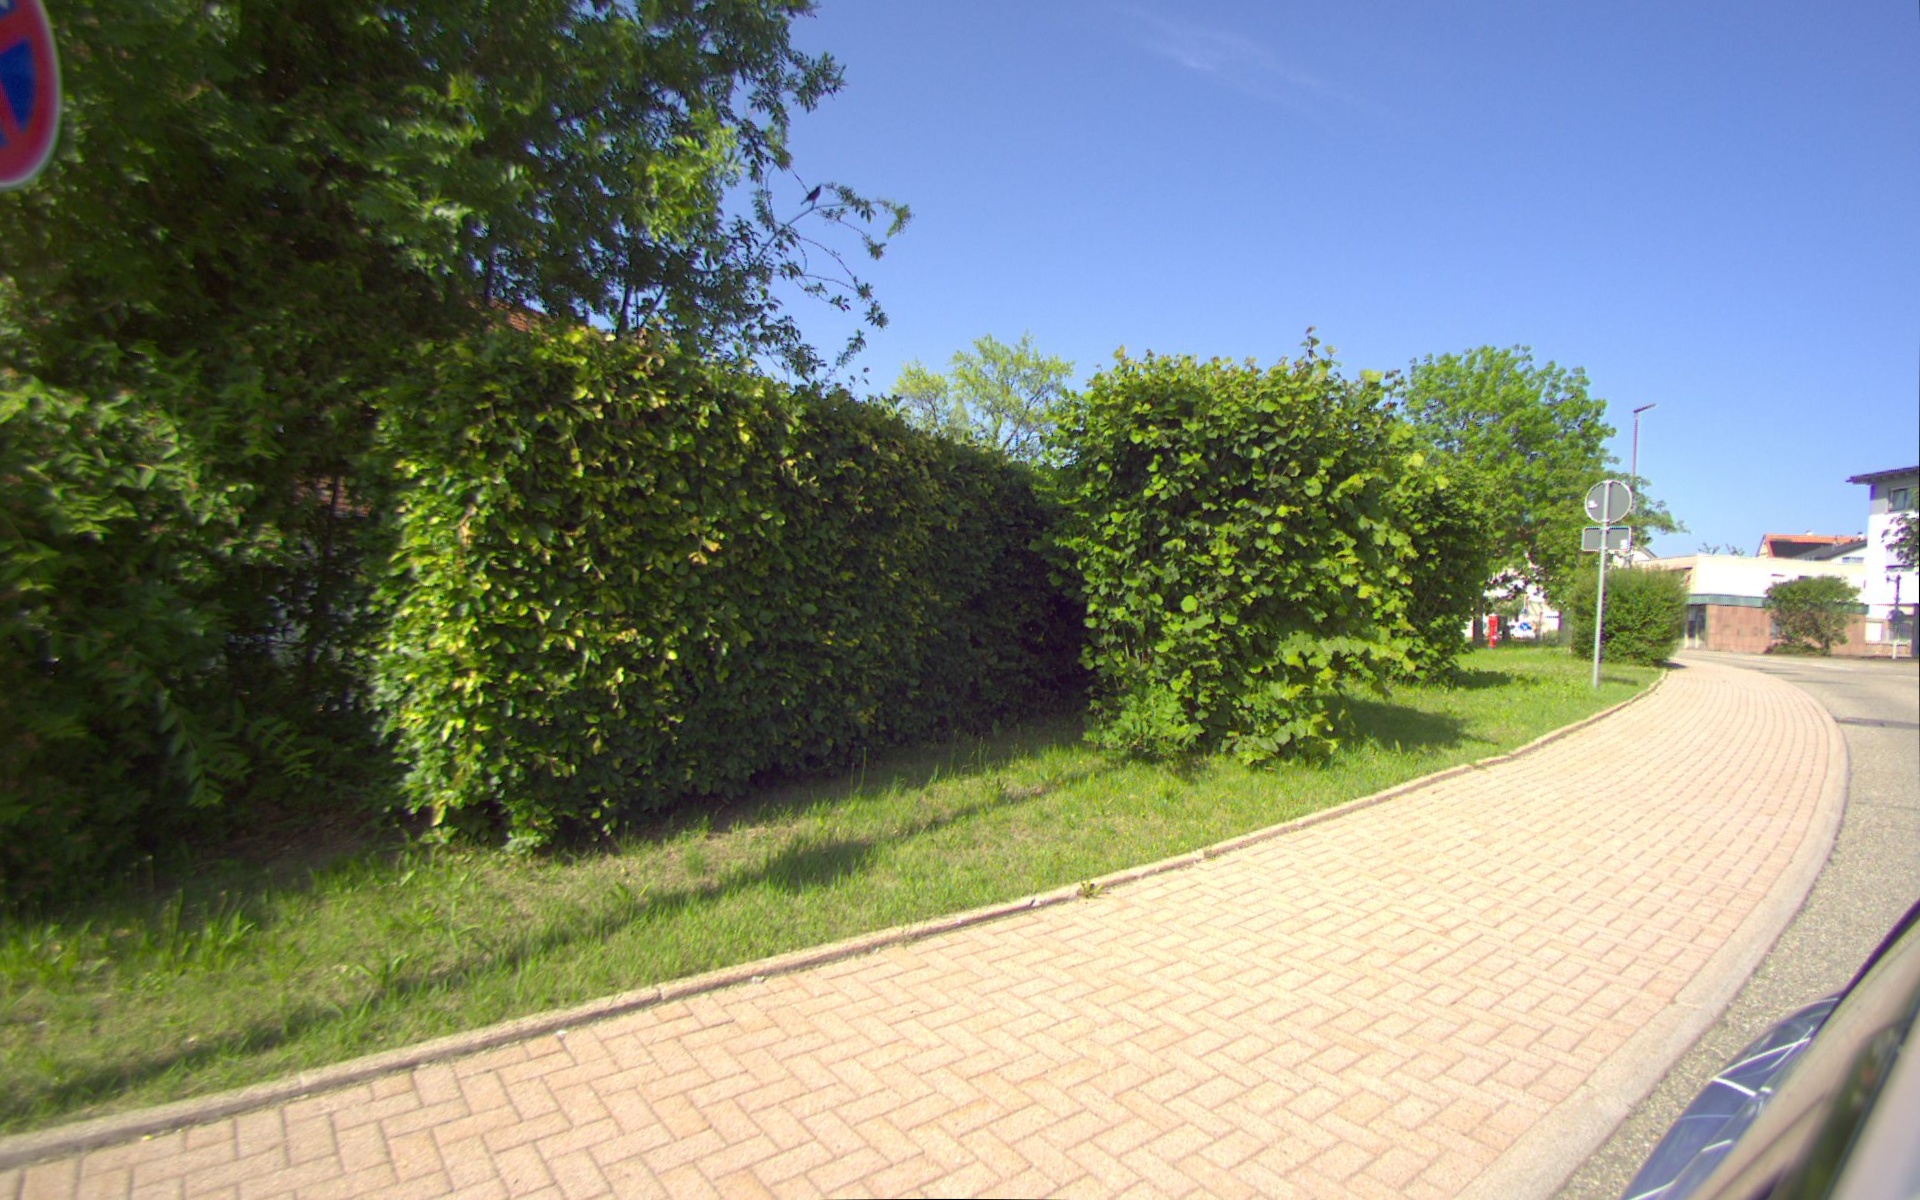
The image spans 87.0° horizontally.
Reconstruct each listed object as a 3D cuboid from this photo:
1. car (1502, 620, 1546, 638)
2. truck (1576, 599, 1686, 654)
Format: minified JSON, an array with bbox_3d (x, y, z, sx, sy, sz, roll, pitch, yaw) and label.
[{"bbox_3d":[46.486,2.377,83.496,1.744,1.487,3.708,0,-1,4],"label":"car"},{"bbox_3d":[30.901,1.302,46.868,1.969,2.373,6.466,-1,-3,13],"label":"truck"}]
